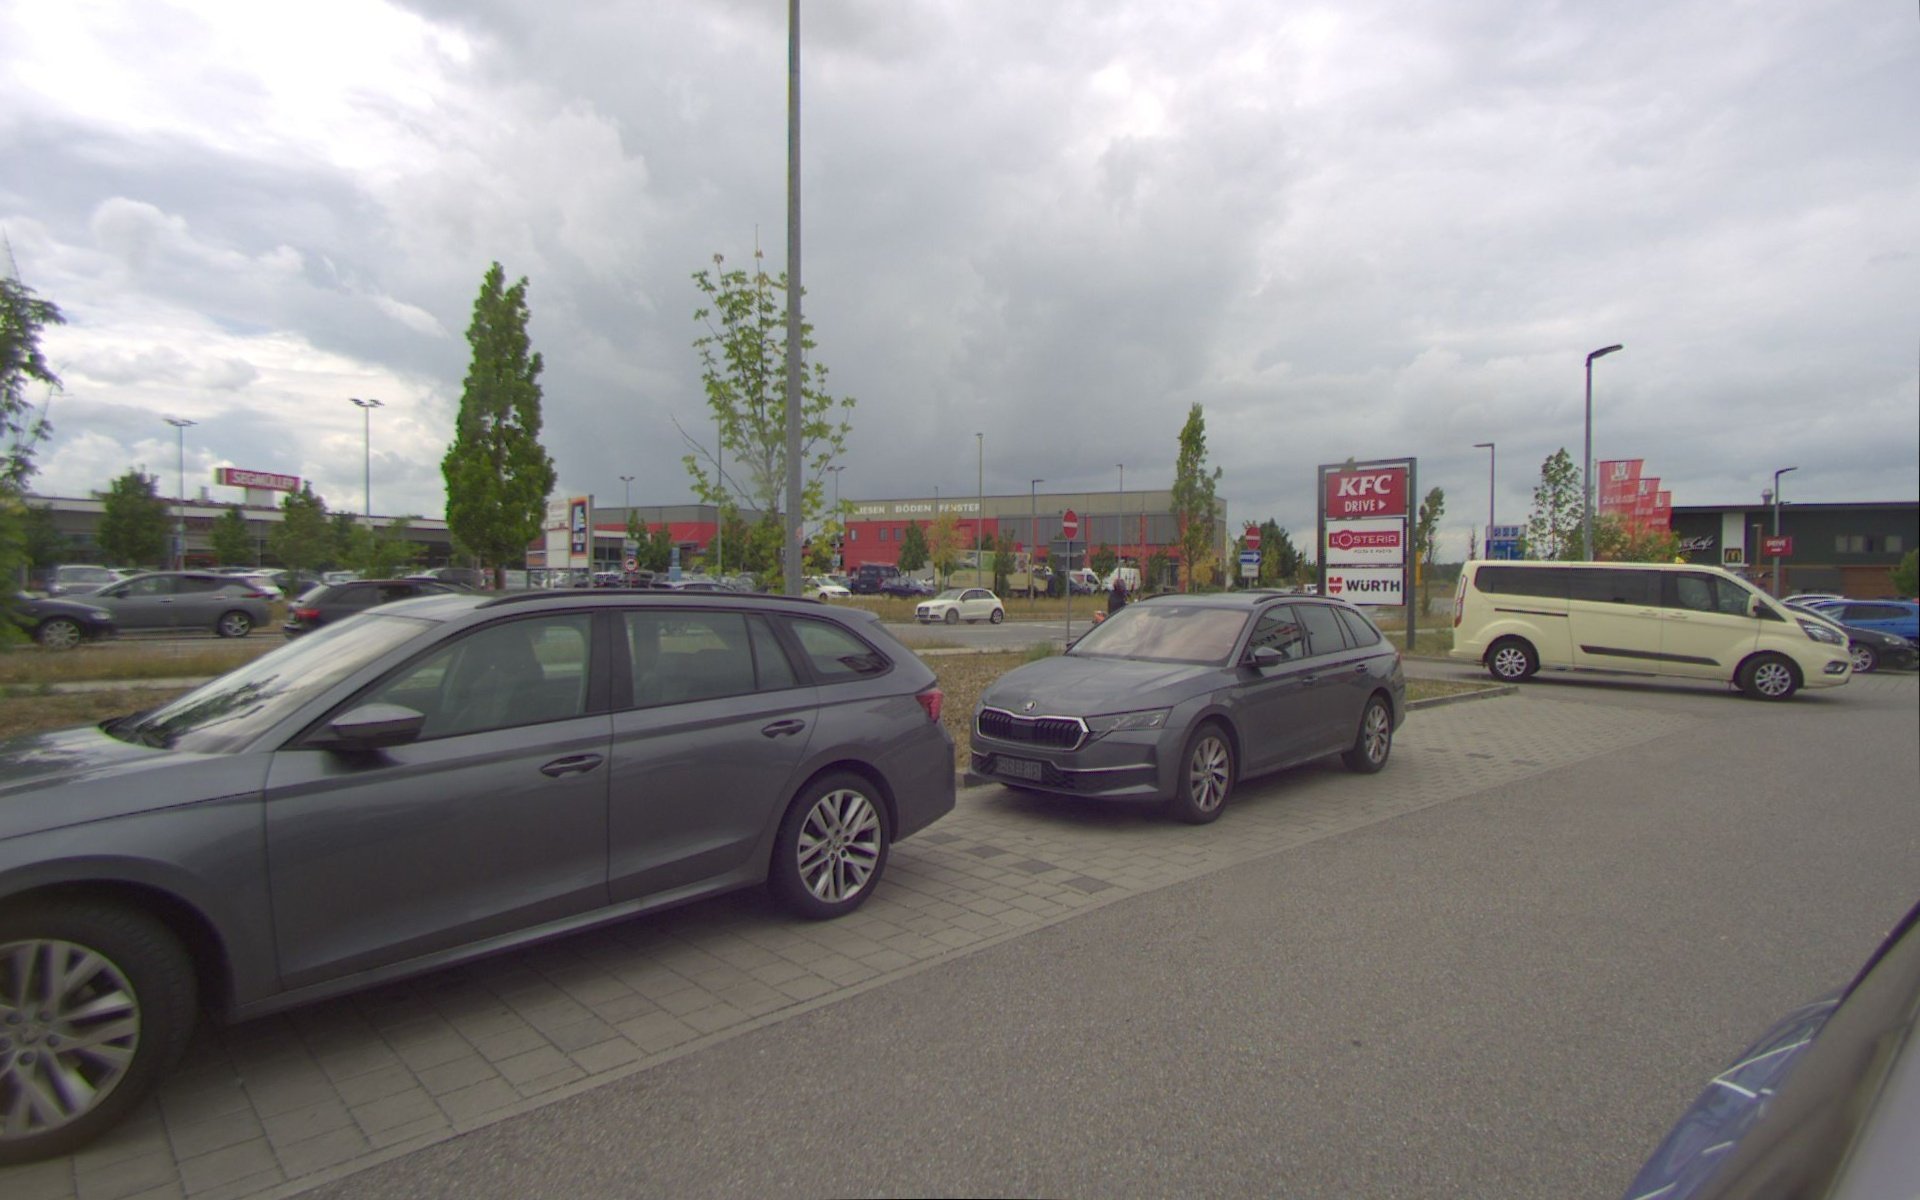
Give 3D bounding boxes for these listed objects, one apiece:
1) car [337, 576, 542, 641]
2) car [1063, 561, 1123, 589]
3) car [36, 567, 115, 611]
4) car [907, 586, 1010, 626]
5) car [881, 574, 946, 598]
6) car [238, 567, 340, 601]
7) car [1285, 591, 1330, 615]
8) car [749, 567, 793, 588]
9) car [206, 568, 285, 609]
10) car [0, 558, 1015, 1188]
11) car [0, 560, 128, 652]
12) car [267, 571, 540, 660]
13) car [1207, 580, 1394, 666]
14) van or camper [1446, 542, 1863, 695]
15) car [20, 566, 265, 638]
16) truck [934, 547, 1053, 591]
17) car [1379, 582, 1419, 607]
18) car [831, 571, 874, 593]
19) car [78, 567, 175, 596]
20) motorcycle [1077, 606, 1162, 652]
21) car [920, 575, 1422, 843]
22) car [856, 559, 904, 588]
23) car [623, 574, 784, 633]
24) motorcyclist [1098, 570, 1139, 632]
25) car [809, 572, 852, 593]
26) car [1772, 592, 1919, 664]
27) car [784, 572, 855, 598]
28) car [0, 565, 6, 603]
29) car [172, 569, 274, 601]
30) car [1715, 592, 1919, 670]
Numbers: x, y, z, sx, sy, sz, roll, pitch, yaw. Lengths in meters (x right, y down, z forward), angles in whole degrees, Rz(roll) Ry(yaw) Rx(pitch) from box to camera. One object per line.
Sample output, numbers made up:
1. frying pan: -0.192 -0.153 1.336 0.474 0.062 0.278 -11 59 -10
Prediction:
1. car: -12.164 0.158 23.790 3.933 1.415 1.905 0 1 -44
2. car: 10.776 -1.985 81.990 4.395 2.149 1.981 0 0 27
3. car: -31.671 -0.414 36.198 3.986 1.494 1.750 1 1 43
4. car: -0.015 0.190 39.556 1.753 1.499 3.991 0 1 45
5. car: -2.919 -0.910 63.463 3.809 1.445 1.725 1 1 30
6. car: -33.823 -0.797 51.113 1.858 1.660 3.963 1 1 26
7. car: 22.798 0.199 66.277 1.746 1.499 4.479 0 1 33
8. car: -15.550 -1.905 83.604 1.744 1.674 3.806 1 2 24
9. car: -27.990 -0.466 39.603 3.986 1.494 1.750 1 1 43
10. car: -1.907 0.635 4.123 1.747 1.509 4.561 0 1 43
11. car: -17.555 0.094 17.848 1.902 1.588 4.268 1 1 43
12. car: -10.783 0.241 19.812 1.993 1.534 4.301 1 1 43
13. car: 6.564 0.383 19.707 1.481 1.465 3.120 0 2 -42
14. van or camper: 10.730 0.221 16.113 5.199 2.087 1.837 1 1 34
15. car: -18.460 0.010 22.955 4.194 1.474 1.995 -1 1 -44
16. truck: 2.377 -2.141 70.890 8.014 2.982 2.685 -1 1 -24
17. car: 33.432 -0.430 76.944 1.897 1.837 3.946 1 1 38
18. car: -8.544 -1.435 80.581 1.744 1.674 3.806 1 2 24
19. car: -48.300 -1.073 58.734 1.858 1.660 3.963 1 1 26
20. motorcycle: 3.465 0.610 22.074 1.863 0.928 0.547 1 1 45
21. car: 1.883 0.588 7.901 1.748 1.509 4.416 0 1 44
22. car: -6.227 -2.063 79.077 2.004 2.232 4.314 1 2 24
23. car: -7.043 0.062 28.005 3.931 1.513 1.820 0 1 -42
24. motorcyclist: 3.461 0.017 22.074 0.671 1.332 0.566 0 0 44
25. car: -10.460 -1.436 81.804 1.744 1.674 3.806 1 2 24
26. car: 21.037 0.610 23.304 1.656 1.562 3.436 0 0 -42
27. car: -8.119 -0.859 58.483 3.983 1.460 1.971 0 1 41
28. car: -43.759 -0.714 43.269 1.858 1.660 3.963 1 1 26
29. car: -38.844 -0.793 53.453 1.858 1.660 3.963 1 1 26
30. car: 18.795 0.611 22.094 1.673 1.568 3.518 -1 0 -44
